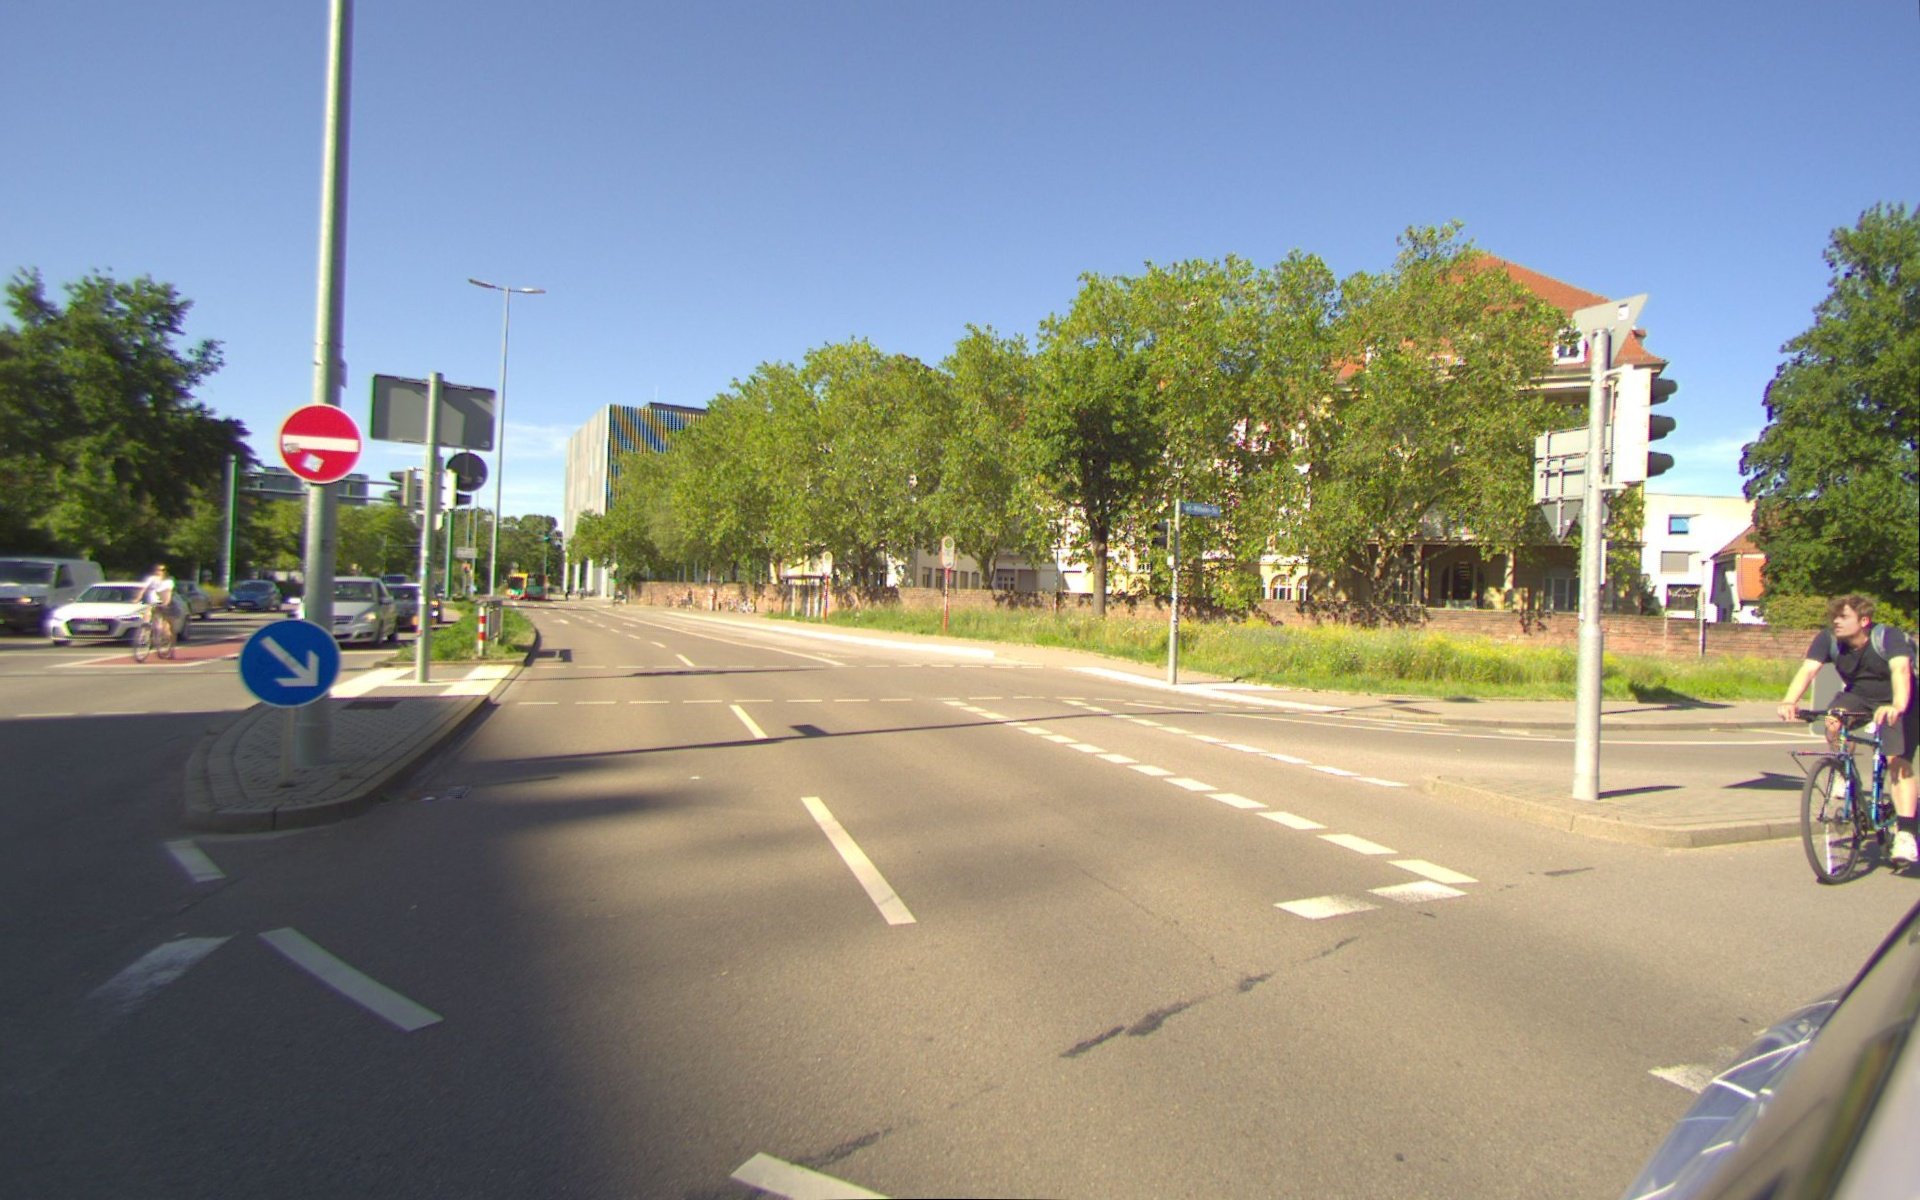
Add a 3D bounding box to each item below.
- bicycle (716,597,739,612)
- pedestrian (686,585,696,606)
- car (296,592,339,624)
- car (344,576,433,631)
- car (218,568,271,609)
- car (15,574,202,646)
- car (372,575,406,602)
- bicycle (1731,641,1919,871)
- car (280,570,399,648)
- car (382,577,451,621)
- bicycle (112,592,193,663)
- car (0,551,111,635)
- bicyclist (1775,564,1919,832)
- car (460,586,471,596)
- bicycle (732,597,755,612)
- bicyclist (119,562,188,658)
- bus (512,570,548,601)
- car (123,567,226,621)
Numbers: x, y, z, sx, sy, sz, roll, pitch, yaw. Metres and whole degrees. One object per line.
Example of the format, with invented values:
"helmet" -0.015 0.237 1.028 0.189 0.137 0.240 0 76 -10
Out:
"bicycle" -18.119 0.358 78.837 0.782 1.090 2.081 3 -3 -42
"pedestrian" -21.466 -0.362 80.705 0.640 1.632 0.559 2 -3 -30
"car" -41.716 0.483 65.760 1.899 1.977 4.764 1 0 -27
"car" -17.901 0.091 31.920 1.942 1.574 4.732 1 0 -24
"car" -33.775 -0.537 47.864 1.810 1.852 4.393 1 0 -33
"car" -19.456 0.196 23.374 1.958 1.487 4.009 2 0 -19
"car" -44.102 -0.868 78.293 1.899 1.977 4.540 1 0 -25
"bicycle" 5.448 0.891 6.024 1.832 1.180 0.644 4 -3 -28
"car" -14.369 0.171 23.659 1.752 1.645 4.324 1 0 -24
"car" -20.789 -0.036 38.888 1.942 1.574 4.732 1 0 -24
"bicycle" -14.908 0.487 18.733 0.733 1.179 1.874 2 1 -25
"car" -23.952 -0.187 26.051 1.899 1.977 4.766 1 0 -24
"bicyclist" 5.486 0.567 6.039 0.933 1.463 0.644 4 -3 -28
"car" -86.162 -1.570 176.480 1.658 1.613 3.605 1 0 -25
"bicycle" -16.510 0.329 77.139 0.782 1.090 2.081 3 -3 -42
"bicyclist" -14.876 0.172 18.699 0.731 1.706 0.979 3 1 -25
"bus" -51.466 -1.685 121.041 2.929 3.316 6.257 3 -3 -33
"car" -28.233 -0.221 36.518 1.899 1.822 4.369 1 0 -24
